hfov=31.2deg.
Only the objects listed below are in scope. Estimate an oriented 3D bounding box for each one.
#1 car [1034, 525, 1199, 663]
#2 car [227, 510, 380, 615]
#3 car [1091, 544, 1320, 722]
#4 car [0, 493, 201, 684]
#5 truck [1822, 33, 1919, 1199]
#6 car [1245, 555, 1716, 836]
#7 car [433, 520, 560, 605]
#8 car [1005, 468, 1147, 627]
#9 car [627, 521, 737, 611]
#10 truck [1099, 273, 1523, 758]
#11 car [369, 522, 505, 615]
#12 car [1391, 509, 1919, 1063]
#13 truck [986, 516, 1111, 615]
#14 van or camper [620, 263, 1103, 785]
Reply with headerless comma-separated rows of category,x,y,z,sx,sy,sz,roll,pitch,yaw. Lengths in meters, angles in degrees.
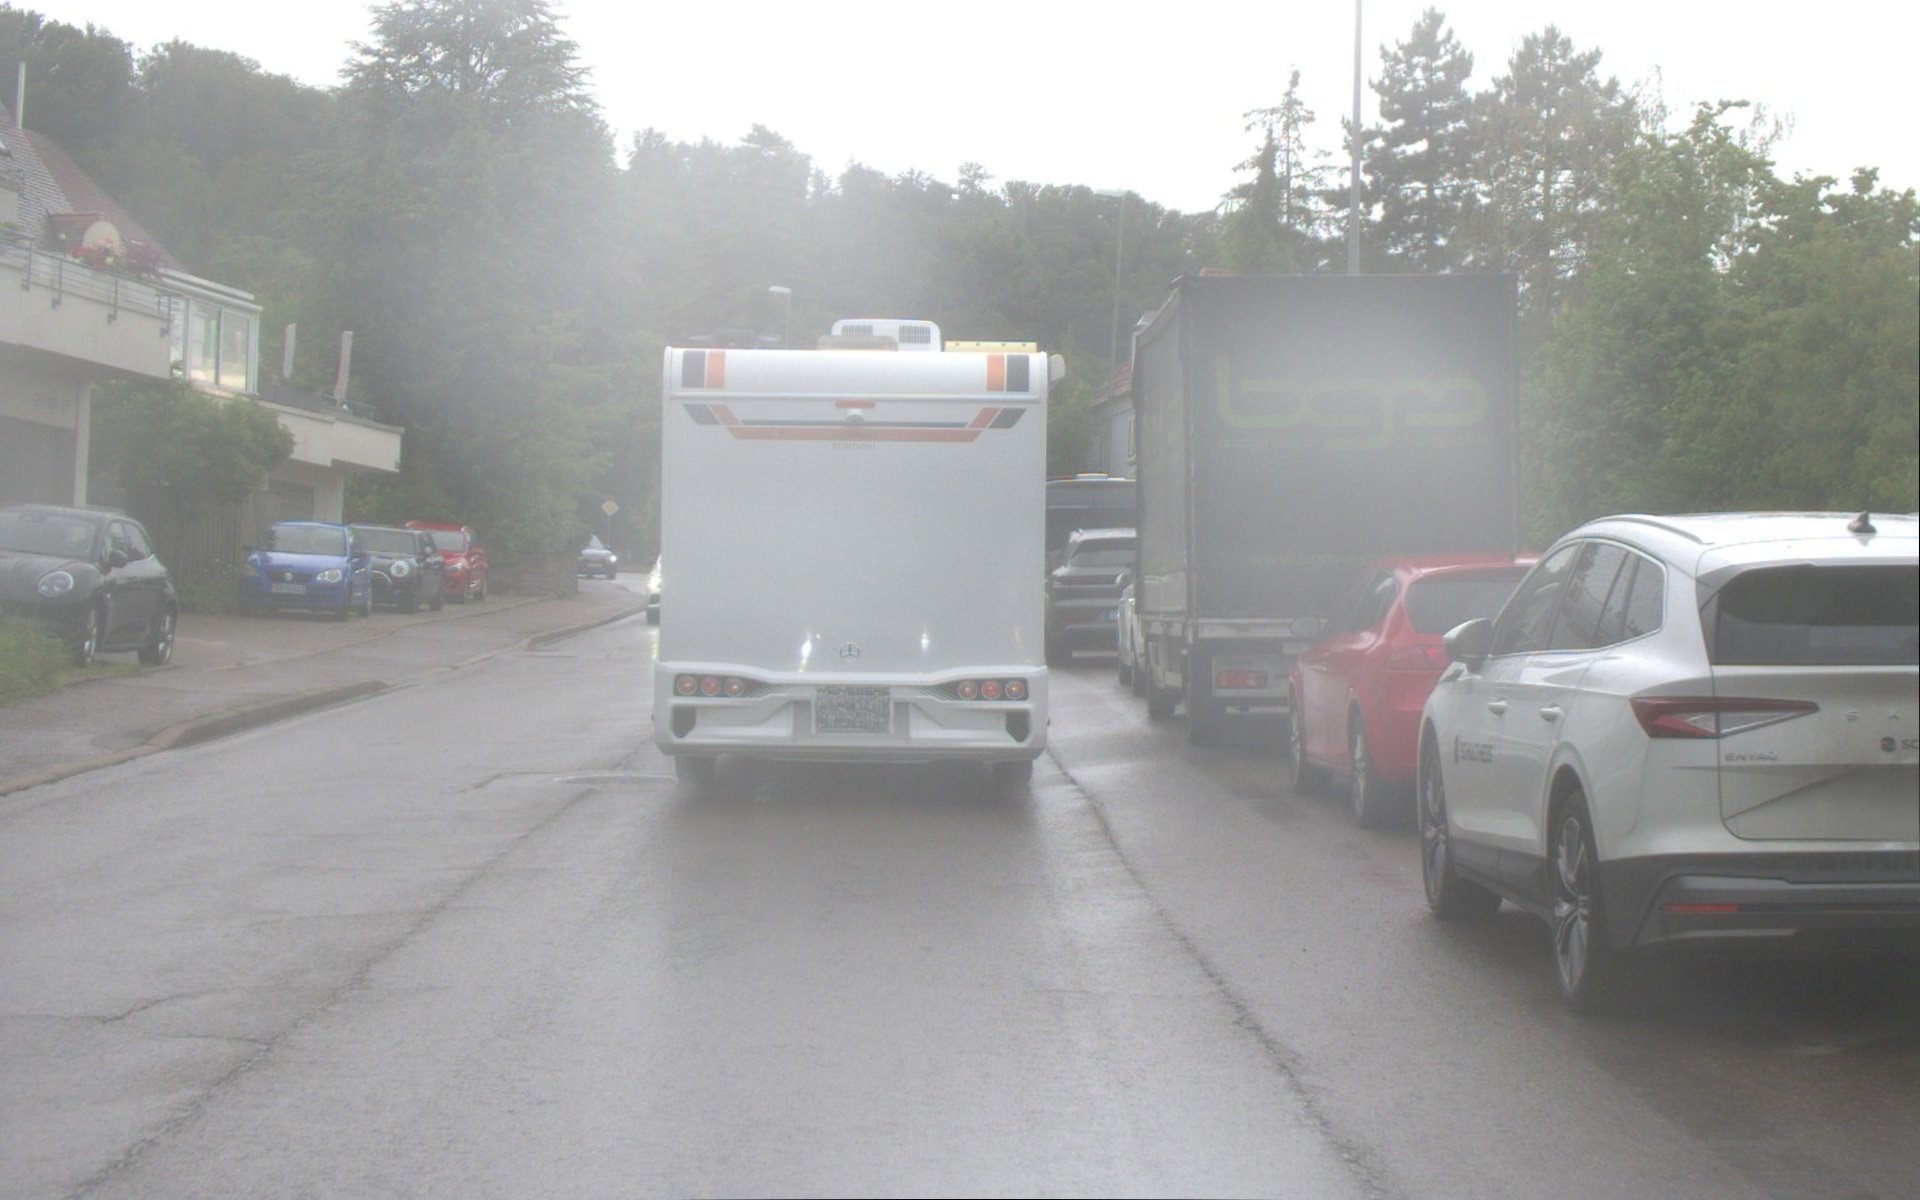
car,1.928,-0.113,43.618,1.936,1.666,4.694,0,1,1
car,-10.007,-0.606,52.668,1.607,1.429,3.959,4,1,-2
car,2.427,0.276,35.297,1.846,1.678,5.639,0,1,-1
car,-8.915,-0.160,33.720,1.689,1.583,4.197,7,1,2
truck,3.176,0.122,4.934,2.239,2.622,6.538,0,1,0
car,2.861,0.457,20.027,1.832,1.433,4.987,0,1,-2
car,-8.955,-0.741,66.749,1.774,1.432,4.588,6,1,-1
car,1.857,-0.882,56.959,2.031,2.497,5.956,0,1,-1
car,-5.238,-0.672,65.298,1.906,1.602,4.429,1,1,-3
truck,2.571,-0.625,27.561,2.436,3.324,7.965,0,1,-1
car,-8.856,-0.558,58.502,1.633,1.391,4.239,5,1,-1
car,2.771,0.510,12.267,1.759,1.599,4.667,0,1,-2
truck,1.763,-0.743,70.729,2.113,1.845,6.619,3,1,-2
van or camper,-0.574,-0.400,22.323,2.616,2.843,6.031,2,-1,0
